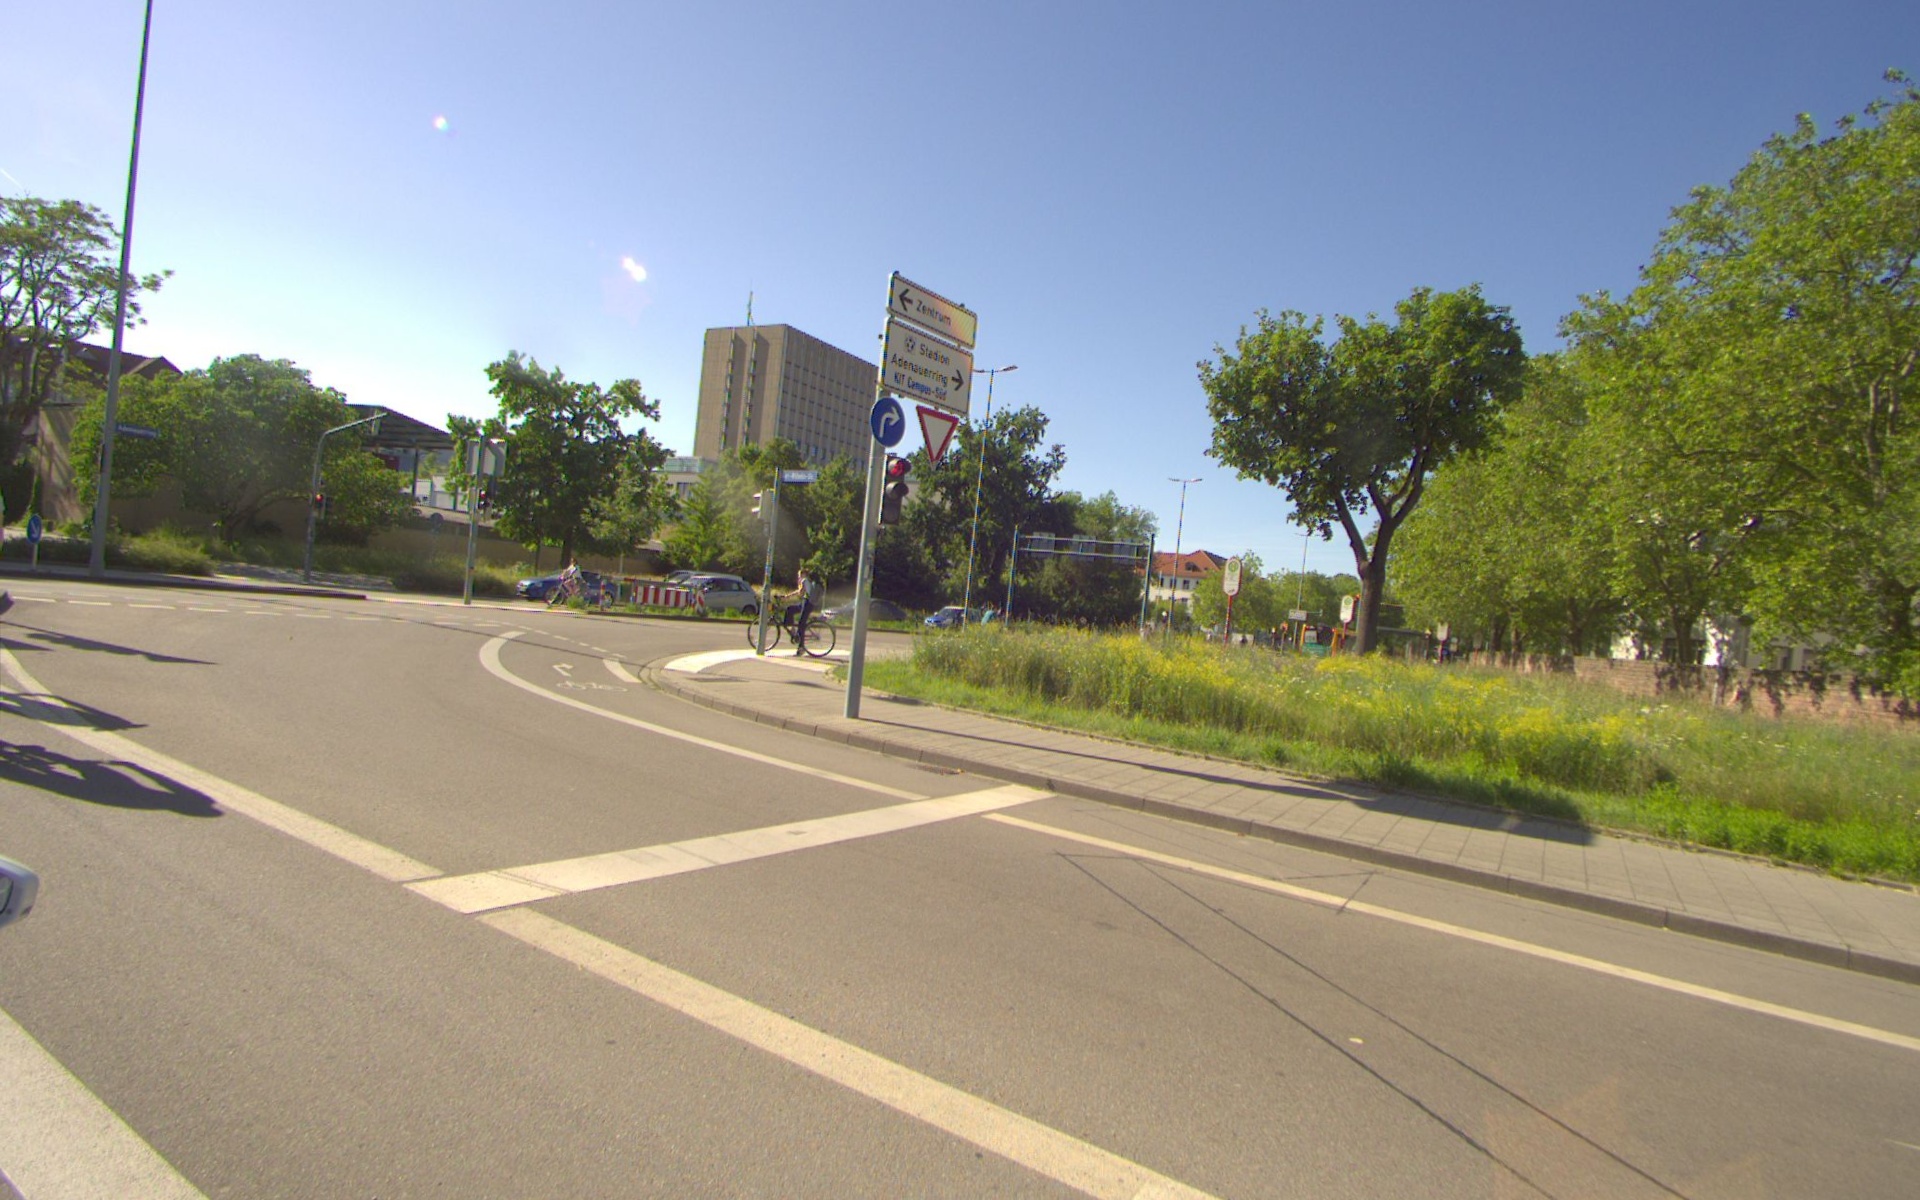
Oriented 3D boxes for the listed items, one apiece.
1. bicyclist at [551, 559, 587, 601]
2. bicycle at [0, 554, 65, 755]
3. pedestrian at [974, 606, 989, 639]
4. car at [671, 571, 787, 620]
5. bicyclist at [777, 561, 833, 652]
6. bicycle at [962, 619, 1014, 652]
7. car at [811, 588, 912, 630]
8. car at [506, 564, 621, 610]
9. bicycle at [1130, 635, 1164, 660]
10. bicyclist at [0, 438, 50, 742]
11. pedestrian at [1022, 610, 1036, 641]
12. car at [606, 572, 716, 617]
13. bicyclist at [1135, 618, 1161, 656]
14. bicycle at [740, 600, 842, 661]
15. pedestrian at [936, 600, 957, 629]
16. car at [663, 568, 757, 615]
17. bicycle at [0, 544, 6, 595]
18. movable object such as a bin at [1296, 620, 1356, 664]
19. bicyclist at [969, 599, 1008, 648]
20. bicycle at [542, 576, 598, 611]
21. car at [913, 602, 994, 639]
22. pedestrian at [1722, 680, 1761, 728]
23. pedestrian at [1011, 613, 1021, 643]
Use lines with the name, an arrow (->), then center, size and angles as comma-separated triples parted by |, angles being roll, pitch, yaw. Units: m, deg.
bicyclist -> -13.790, -0.697, 35.467 | 0.602, 1.360, 0.874 | 7, 1, 37
bicycle -> -6.287, 0.235, 6.103 | 1.890, 1.102, 0.690 | 6, -1, 32
pedestrian -> 1.704, 1.793, 79.929 | 0.660, 2.451, 0.770 | 6, -1, 34
car -> -8.738, -0.133, 38.288 | 1.767, 1.415, 3.986 | 7, 0, 37
bicyclist -> -3.036, 0.122, 19.704 | 0.898, 1.667, 0.630 | 6, 1, -9
bicycle -> 0.938, 1.196, 33.419 | 0.640, 0.986, 1.895 | 7, 1, 39
car -> -4.307, 0.433, 44.629 | 1.767, 1.415, 4.557 | 7, 0, 37
car -> -16.209, -0.528, 41.317 | 1.767, 1.415, 3.986 | 7, 0, 37
bicycle -> 8.095, 2.065, 43.519 | 0.514, 1.000, 1.965 | 7, 1, 39
bicyclist -> -6.306, -0.120, 6.144 | 1.123, 1.813, 0.684 | 7, 0, 32
pedestrian -> 5.787, 2.152, 84.218 | 0.710, 2.451, 0.585 | 6, -1, 34
car -> -12.298, -0.203, 41.569 | 1.767, 1.415, 3.986 | 7, 0, 37
bicyclist -> 8.144, 1.608, 43.517 | 0.509, 1.548, 1.067 | 7, 2, 39
bicycle -> -3.289, 0.589, 19.676 | 1.856, 0.970, 0.635 | 7, 1, -10
pedestrian -> -1.006, 1.118, 75.769 | 0.752, 2.039, 1.267 | 7, 1, 36
car -> -11.841, -0.369, 47.795 | 1.767, 1.771, 3.986 | 7, 0, 37
bicycle -> -8.197, 0.020, 7.751 | 1.890, 1.102, 0.690 | 6, -1, 32
movable object such as a bin -> 27.993, 3.280, 76.706 | 2.954, 2.898, 9.178 | 6, 0, 27
bicyclist -> 0.949, 0.792, 33.376 | 0.632, 1.533, 1.049 | 7, 2, 39
bicycle -> -13.781, -0.212, 35.564 | 0.602, 1.046, 1.681 | 7, 0, 37
car -> -0.292, 1.048, 50.456 | 1.916, 1.415, 3.986 | 6, 0, 37
pedestrian -> 25.881, 3.431, 33.315 | 0.712, 1.460, 0.523 | 7, -1, 2
pedestrian -> 4.732, 2.368, 84.542 | 0.401, 2.451, 0.467 | 6, -1, 34
